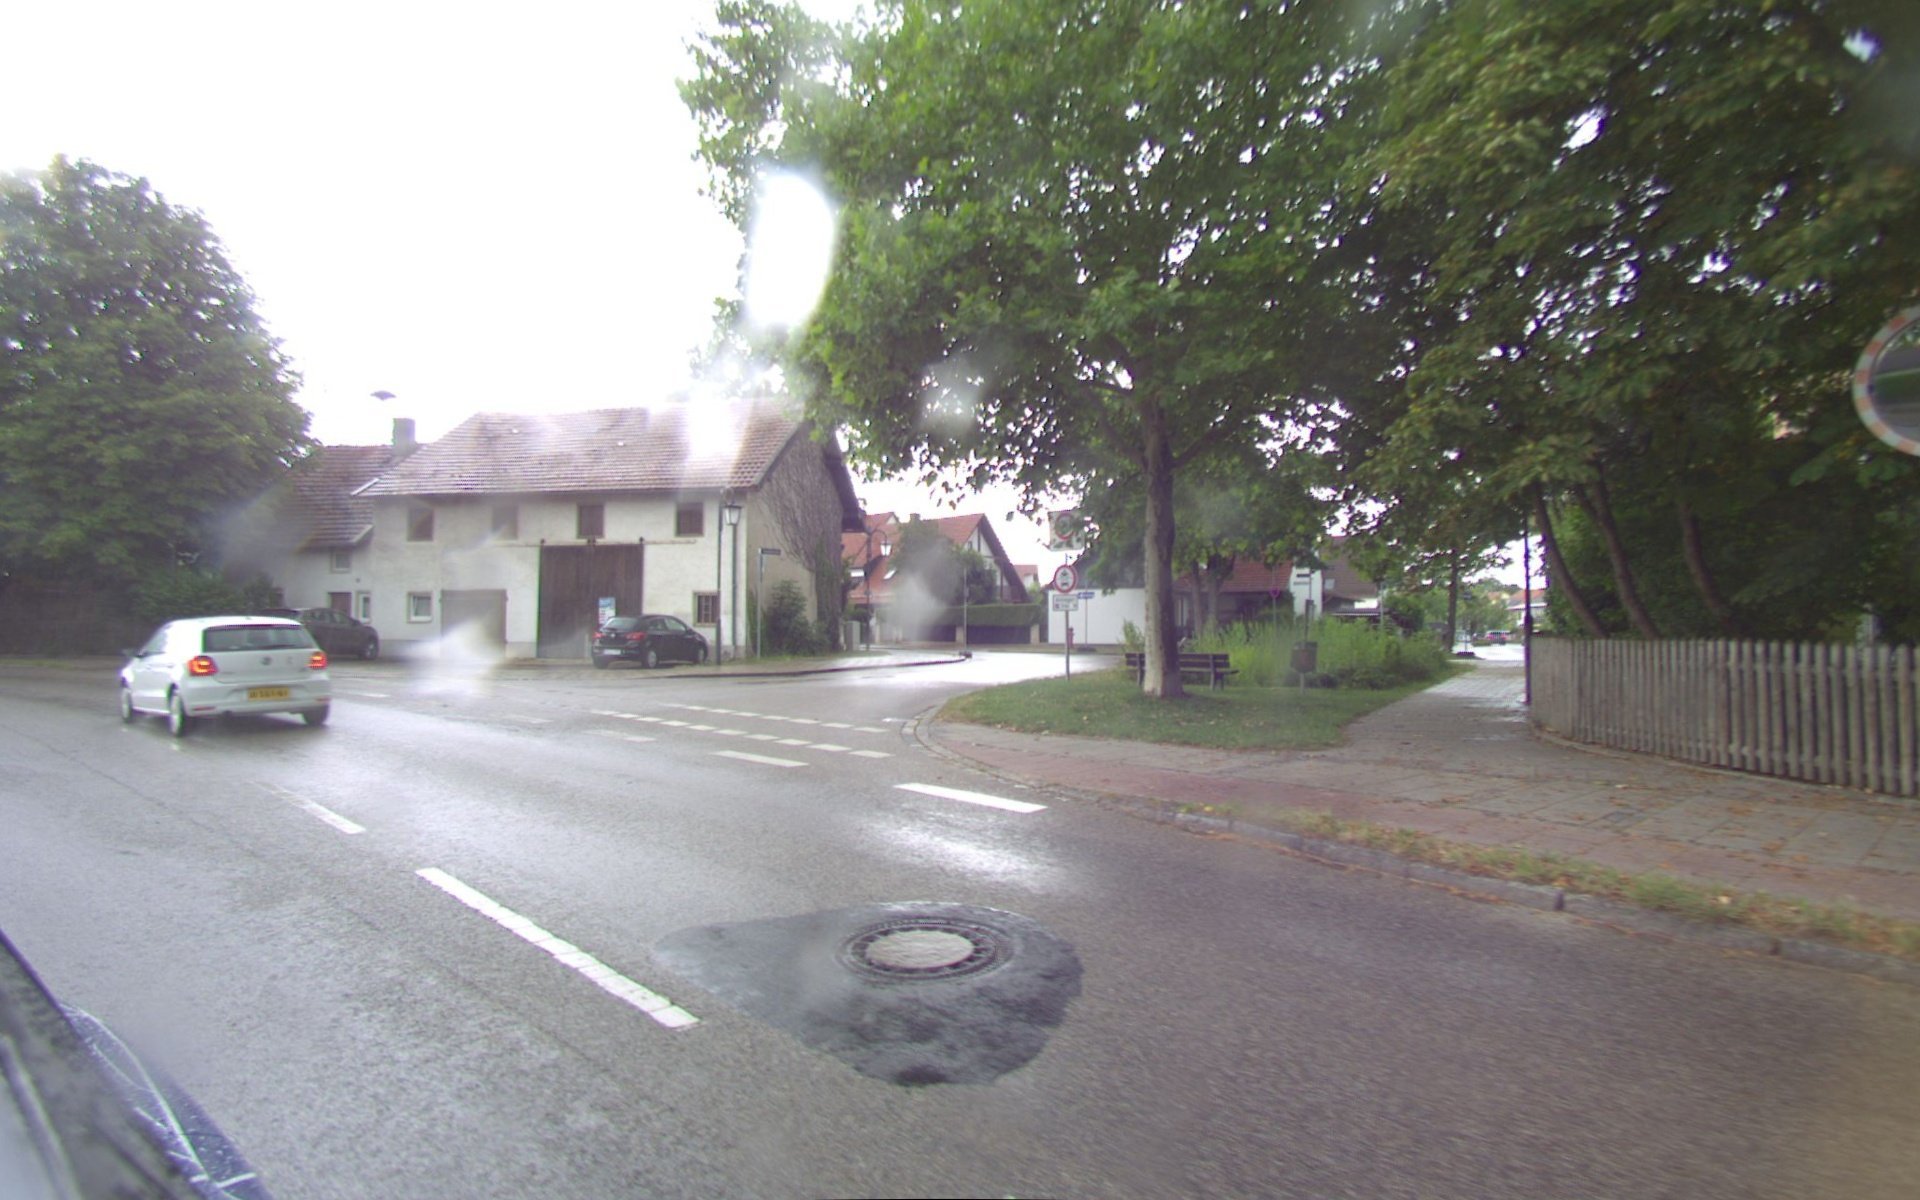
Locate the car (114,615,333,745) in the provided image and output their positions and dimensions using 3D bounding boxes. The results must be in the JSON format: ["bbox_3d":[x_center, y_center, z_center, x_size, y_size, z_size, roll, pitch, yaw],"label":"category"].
[{"bbox_3d":[-9.888,0.956,13.501,3.669,1.455,1.601,0,0,41],"label":"car"}]

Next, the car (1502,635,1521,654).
[{"bbox_3d":[65.869,5.285,120.926,1.991,2.029,3.961,0,0,29],"label":"car"}]

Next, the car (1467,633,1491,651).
[{"bbox_3d":[49.537,4.008,96.634,1.990,1.453,3.963,0,0,27],"label":"car"}]

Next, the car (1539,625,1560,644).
[{"bbox_3d":[69.439,4.066,119.303,1.991,2.029,3.961,0,0,29],"label":"car"}]

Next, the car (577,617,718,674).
[{"bbox_3d":[-8.492,1.192,27.919,1.803,1.447,4.262,0,-1,14],"label":"car"}]

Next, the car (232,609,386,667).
[{"bbox_3d":[-19.007,1.149,29.804,1.792,1.560,4.281,0,-3,-1],"label":"car"}]

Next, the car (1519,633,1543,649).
[{"bbox_3d":[57.511,4.093,101.957,1.990,1.453,3.963,0,0,27],"label":"car"}]

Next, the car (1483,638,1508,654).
[{"bbox_3d":[55.091,4.685,104.180,1.989,1.453,3.966,0,0,25],"label":"car"}]
